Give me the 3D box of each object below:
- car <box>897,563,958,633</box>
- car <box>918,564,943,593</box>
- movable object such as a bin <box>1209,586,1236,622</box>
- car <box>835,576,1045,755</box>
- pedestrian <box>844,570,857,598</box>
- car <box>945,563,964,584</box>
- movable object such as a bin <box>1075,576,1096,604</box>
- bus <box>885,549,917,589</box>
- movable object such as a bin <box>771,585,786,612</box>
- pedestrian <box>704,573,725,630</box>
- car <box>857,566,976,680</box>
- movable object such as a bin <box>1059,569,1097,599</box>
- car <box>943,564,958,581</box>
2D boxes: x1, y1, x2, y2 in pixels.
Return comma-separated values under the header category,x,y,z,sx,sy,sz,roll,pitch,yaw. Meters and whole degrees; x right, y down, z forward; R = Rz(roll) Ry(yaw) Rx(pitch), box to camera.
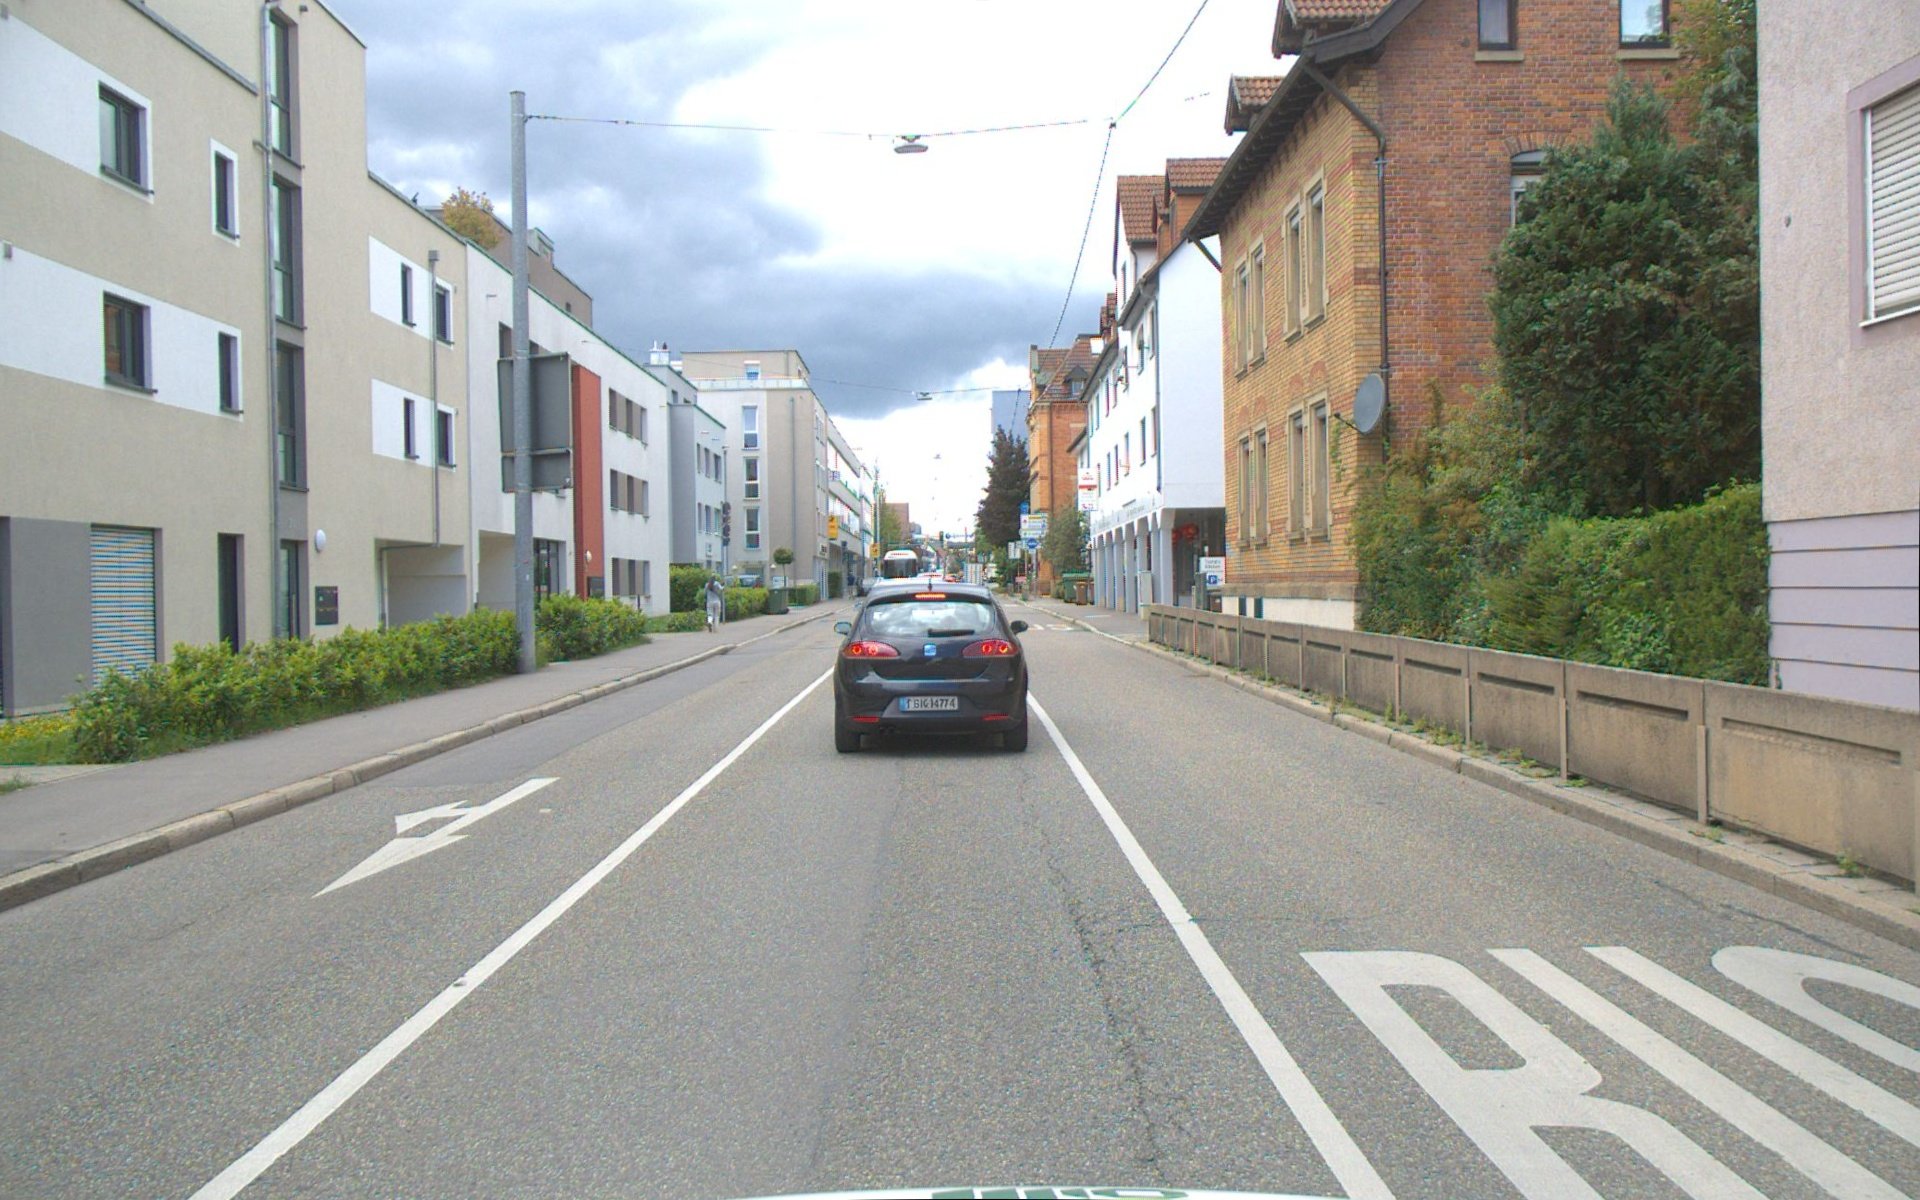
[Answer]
category,x,y,z,sx,sy,sz,roll,pitch,yaw
car,-0.828,-0.070,42.497,1.500,1.722,3.692,0,0,-1
car,-1.824,-1.332,103.206,1.500,1.722,3.692,0,0,-1
movable object such as a bin,6.285,0.091,39.634,0.580,0.854,0.458,0,0,-1
car,-0.179,0.522,15.595,1.723,1.467,4.000,0,0,-1
pedestrian,-6.865,-1.017,103.684,0.716,1.759,0.859,0,0,-1
car,-0.488,-2.327,144.542,1.500,1.722,3.693,-2,1,-1
movable object such as a bin,5.928,-0.473,78.067,0.909,1.306,0.883,0,0,0
bus,-4.461,-2.332,125.874,2.165,2.936,8.919,0,0,0
movable object such as a bin,-7.176,-0.062,65.339,0.538,1.097,0.612,0,0,0
pedestrian,-6.874,0.037,46.386,0.516,1.575,0.541,0,0,-1
car,-0.689,0.324,27.037,1.805,1.722,3.999,0,0,-1
movable object such as a bin,5.844,-0.812,82.288,1.780,1.462,1.993,0,0,0
car,-1.017,-2.881,171.210,1.500,1.722,3.693,-1,1,-1
